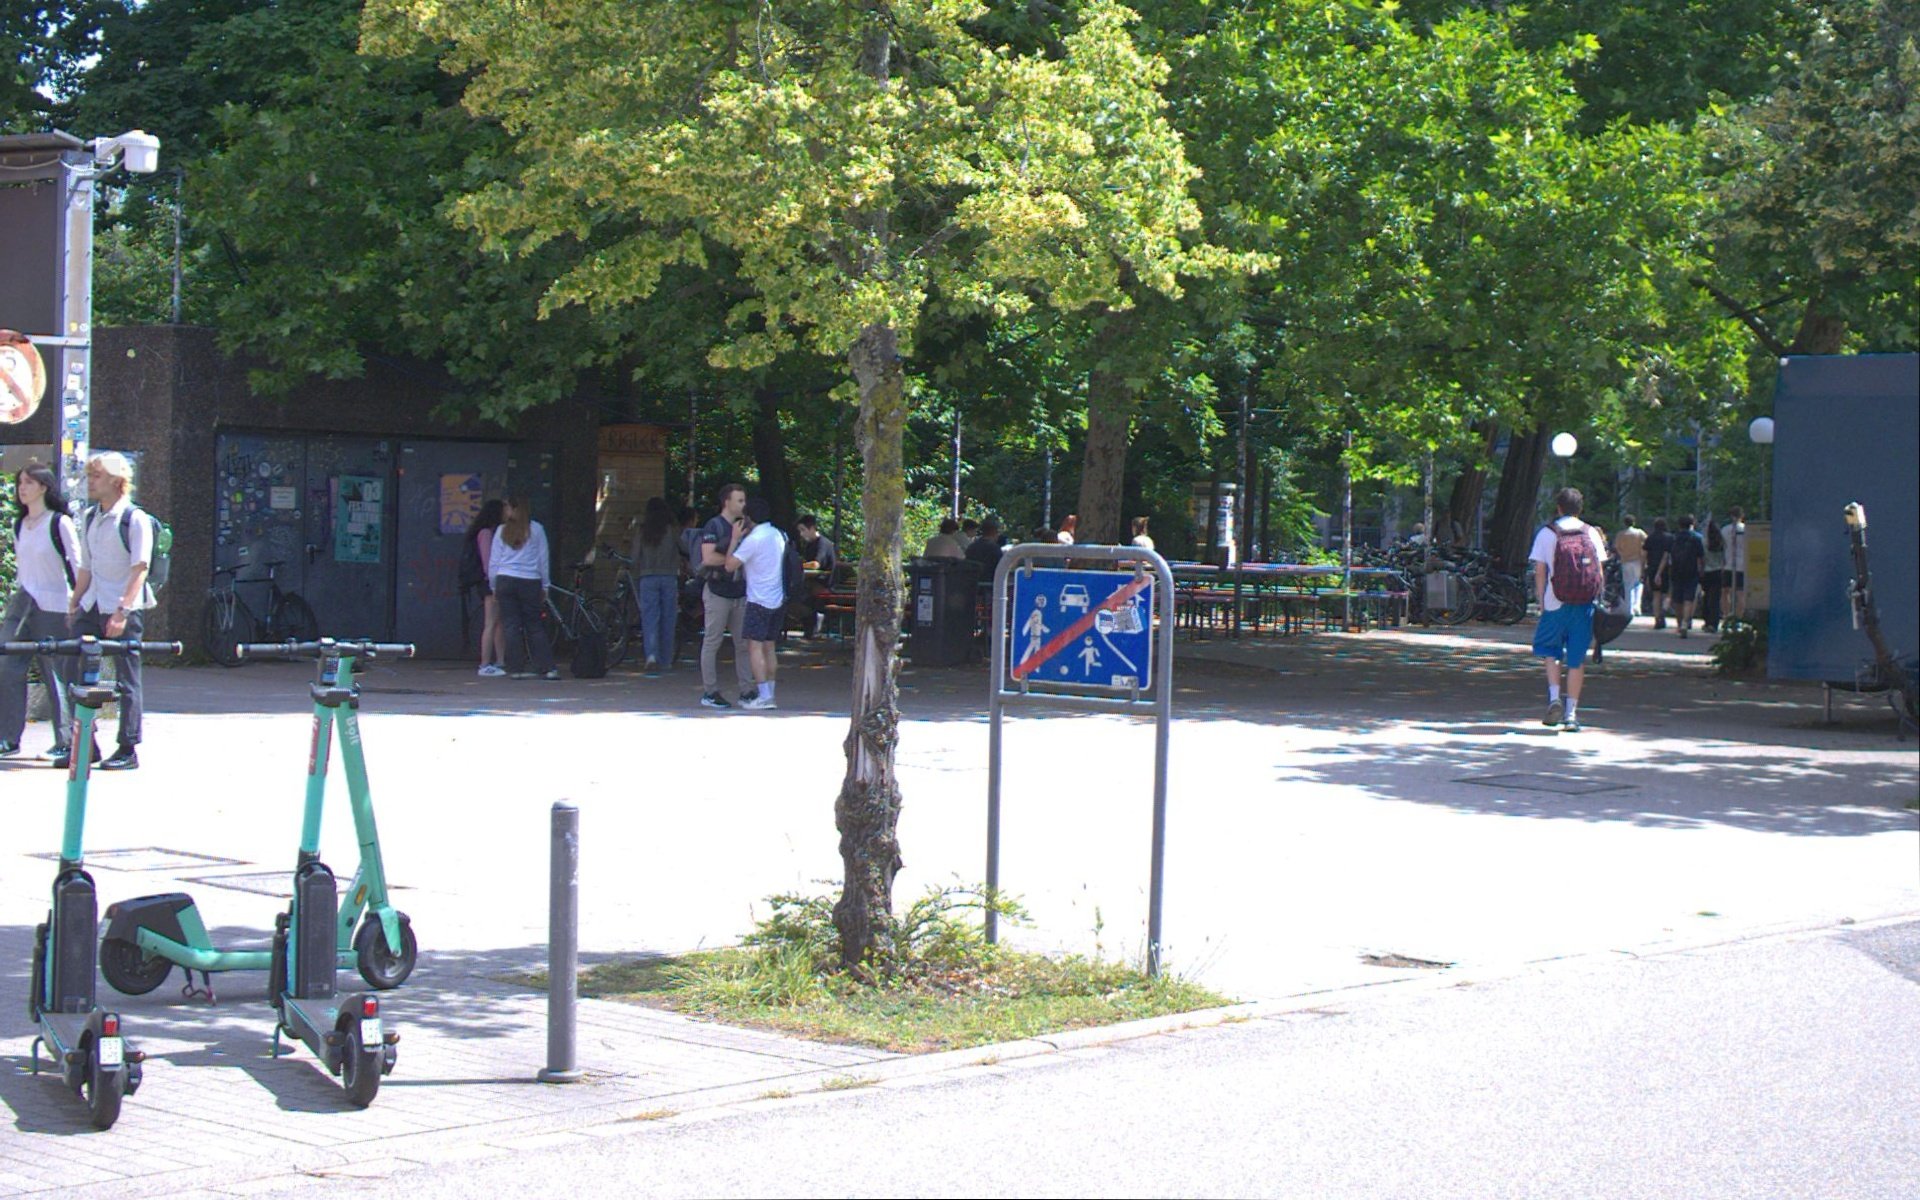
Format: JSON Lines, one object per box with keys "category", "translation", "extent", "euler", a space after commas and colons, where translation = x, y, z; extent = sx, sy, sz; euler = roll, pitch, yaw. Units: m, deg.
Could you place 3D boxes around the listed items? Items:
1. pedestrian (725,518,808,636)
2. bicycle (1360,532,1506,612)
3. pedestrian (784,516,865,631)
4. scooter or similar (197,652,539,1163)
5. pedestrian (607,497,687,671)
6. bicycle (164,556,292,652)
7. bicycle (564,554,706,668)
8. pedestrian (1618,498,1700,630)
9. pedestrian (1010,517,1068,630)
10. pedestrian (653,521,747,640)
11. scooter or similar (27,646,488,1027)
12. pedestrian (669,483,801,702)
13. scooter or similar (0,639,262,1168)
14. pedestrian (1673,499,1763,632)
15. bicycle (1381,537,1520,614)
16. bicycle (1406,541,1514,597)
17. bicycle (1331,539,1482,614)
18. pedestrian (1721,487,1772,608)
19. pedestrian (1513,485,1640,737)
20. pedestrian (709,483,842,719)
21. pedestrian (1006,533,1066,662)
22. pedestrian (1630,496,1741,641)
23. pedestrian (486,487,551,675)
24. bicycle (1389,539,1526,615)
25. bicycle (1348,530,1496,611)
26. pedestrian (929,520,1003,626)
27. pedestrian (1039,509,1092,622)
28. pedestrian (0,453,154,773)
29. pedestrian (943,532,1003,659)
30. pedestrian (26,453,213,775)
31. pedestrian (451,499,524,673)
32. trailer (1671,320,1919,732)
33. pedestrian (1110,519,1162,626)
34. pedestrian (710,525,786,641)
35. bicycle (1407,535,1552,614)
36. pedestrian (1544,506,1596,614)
{"category": "pedestrian", "translation": [-2.146, -0.258, 38.124], "extent": [0.561, 1.267, 0.691], "euler": [3, 2, 39]}
{"category": "bicycle", "translation": [6.876, -0.414, 50.030], "extent": [2.011, 1.115, 0.584], "euler": [2, 1, 30]}
{"category": "pedestrian", "translation": [-1.533, -0.299, 38.877], "extent": [0.561, 1.267, 0.691], "euler": [3, 2, 39]}
{"category": "scooter or similar", "translation": [-1.667, 0.791, 9.501], "extent": [0.522, 1.220, 1.575], "euler": [1, 1, -24]}
{"category": "pedestrian", "translation": [-3.045, -0.161, 33.491], "extent": [0.676, 1.645, 0.503], "euler": [2, 3, -1]}
{"category": "bicycle", "translation": [-6.902, 0.038, 32.446], "extent": [0.305, 0.880, 1.229], "euler": [3, 2, 40]}
{"category": "bicycle", "translation": [-3.199, 0.109, 33.861], "extent": [1.345, 1.073, 0.417], "euler": [2, 0, -5]}
{"category": "pedestrian", "translation": [10.663, -0.550, 52.447], "extent": [0.820, 1.941, 0.852], "euler": [3, 3, -14]}
{"category": "pedestrian", "translation": [0.898, -0.302, 39.006], "extent": [0.593, 1.229, 0.743], "euler": [2, 3, 4]}
{"category": "pedestrian", "translation": [-2.928, -0.226, 38.748], "extent": [0.689, 1.318, 0.776], "euler": [2, 2, 40]}
{"category": "scooter or similar", "translation": [-2.281, 0.737, 11.230], "extent": [1.345, 1.145, 0.565], "euler": [1, 2, -40]}
{"category": "pedestrian", "translation": [-1.809, -0.057, 27.598], "extent": [0.877, 1.714, 0.489], "euler": [2, -1, -24]}
{"category": "scooter or similar", "translation": [-2.337, 0.750, 9.186], "extent": [0.563, 1.220, 1.575], "euler": [1, 1, -24]}
{"category": "pedestrian", "translation": [11.578, -0.534, 52.521], "extent": [0.917, 1.941, 0.892], "euler": [3, 3, -14]}
{"category": "bicycle", "translation": [7.468, -0.379, 52.360], "extent": [2.011, 1.115, 0.584], "euler": [2, 1, 30]}
{"category": "bicycle", "translation": [8.620, -0.534, 59.264], "extent": [1.763, 0.891, 0.419], "euler": [3, 2, 19]}
{"category": "bicycle", "translation": [6.266, -0.334, 48.304], "extent": [2.011, 1.004, 0.584], "euler": [2, 1, 30]}
{"category": "pedestrian", "translation": [12.493, -0.835, 54.585], "extent": [0.588, 1.897, 0.517], "euler": [1, 1, -10]}
{"category": "pedestrian", "translation": [4.664, 0.065, 26.074], "extent": [0.851, 1.829, 0.878], "euler": [2, 3, 8]}
{"category": "pedestrian", "translation": [-1.451, 0.010, 27.019], "extent": [0.877, 1.814, 0.449], "euler": [2, -1, -24]}
{"category": "pedestrian", "translation": [0.850, -0.033, 38.181], "extent": [0.593, 1.364, 0.743], "euler": [2, 3, 4]}
{"category": "pedestrian", "translation": [10.168, -0.450, 48.192], "extent": [1.121, 1.941, 0.892], "euler": [3, 3, -14]}
{"category": "pedestrian", "translation": [-4.089, -0.184, 31.842], "extent": [0.528, 1.704, 0.448], "euler": [2, 3, -6]}
{"category": "bicycle", "translation": [7.689, -0.364, 53.162], "extent": [2.011, 1.115, 0.584], "euler": [2, 1, 30]}
{"category": "bicycle", "translation": [6.615, -0.427, 49.224], "extent": [2.011, 1.115, 0.584], "euler": [2, 1, 30]}
{"category": "pedestrian", "translation": [0.071, -0.330, 41.575], "extent": [0.569, 1.246, 0.766], "euler": [3, 2, 27]}
{"category": "pedestrian", "translation": [1.437, -0.476, 46.857], "extent": [0.506, 1.517, 0.473], "euler": [3, 2, 28]}
{"category": "pedestrian", "translation": [-5.166, 0.062, 19.589], "extent": [0.577, 1.773, 0.915], "euler": [2, 1, 38]}
{"category": "pedestrian", "translation": [0.147, -0.059, 38.540], "extent": [0.593, 1.364, 0.704], "euler": [2, 3, 4]}
{"category": "pedestrian", "translation": [-4.710, 0.069, 19.281], "extent": [0.564, 1.756, 0.804], "euler": [2, 1, 38]}
{"category": "pedestrian", "translation": [-4.434, -0.134, 32.280], "extent": [0.604, 1.587, 0.413], "euler": [2, 3, -3]}
{"category": "trailer", "translation": [8.517, -0.588, 28.020], "extent": [2.703, 3.016, 6.252], "euler": [4, 3, 38]}
{"category": "pedestrian", "translation": [2.378, -0.372, 46.397], "extent": [0.506, 1.417, 0.459], "euler": [3, 2, 29]}
{"category": "pedestrian", "translation": [-2.442, -0.201, 39.639], "extent": [0.646, 1.318, 0.558], "euler": [2, 2, 40]}
{"category": "bicycle", "translation": [7.624, -0.385, 50.482], "extent": [2.011, 1.115, 0.584], "euler": [2, 1, 30]}
{"category": "pedestrian", "translation": [9.694, -0.640, 54.598], "extent": [0.630, 1.664, 0.729], "euler": [3, 2, 20]}
